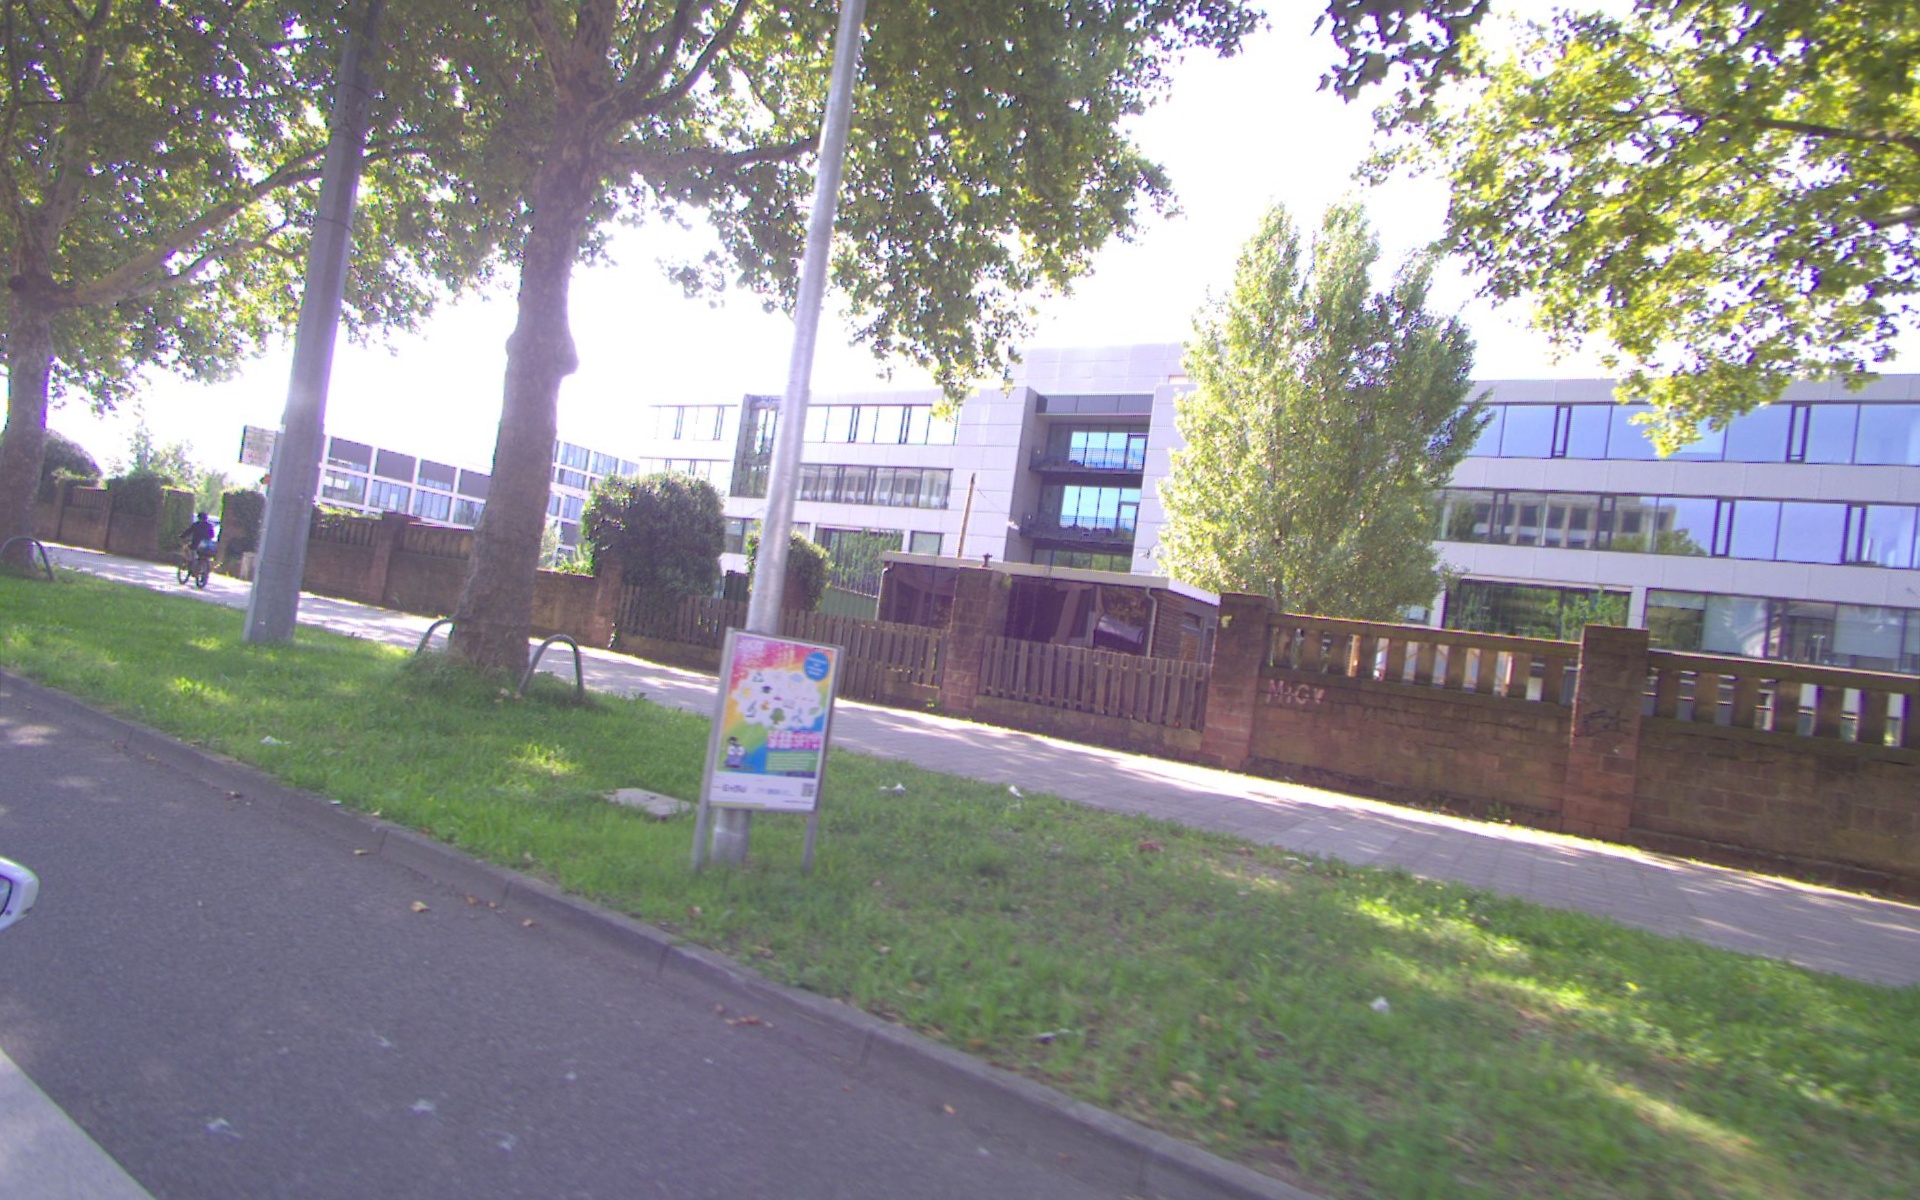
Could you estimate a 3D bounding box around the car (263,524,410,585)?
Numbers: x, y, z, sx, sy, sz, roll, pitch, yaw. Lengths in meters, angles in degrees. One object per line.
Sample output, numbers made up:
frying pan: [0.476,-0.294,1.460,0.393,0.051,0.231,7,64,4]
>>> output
car: [-21.423,-1.520,34.743,1.478,1.419,3.998,7,-2,29]

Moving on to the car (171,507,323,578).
car: [-26.785,-2.128,37.946,1.534,1.914,4.285,7,-2,29]

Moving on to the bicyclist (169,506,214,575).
bicyclist: [-18.472,-1.428,24.182,0.586,1.557,0.470,7,-1,28]

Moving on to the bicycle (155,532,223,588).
bicycle: [-18.533,-0.965,24.176,1.825,1.101,0.492,7,-2,29]

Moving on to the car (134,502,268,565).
car: [-31.533,-2.717,41.907,1.534,1.863,4.013,7,-2,29]
